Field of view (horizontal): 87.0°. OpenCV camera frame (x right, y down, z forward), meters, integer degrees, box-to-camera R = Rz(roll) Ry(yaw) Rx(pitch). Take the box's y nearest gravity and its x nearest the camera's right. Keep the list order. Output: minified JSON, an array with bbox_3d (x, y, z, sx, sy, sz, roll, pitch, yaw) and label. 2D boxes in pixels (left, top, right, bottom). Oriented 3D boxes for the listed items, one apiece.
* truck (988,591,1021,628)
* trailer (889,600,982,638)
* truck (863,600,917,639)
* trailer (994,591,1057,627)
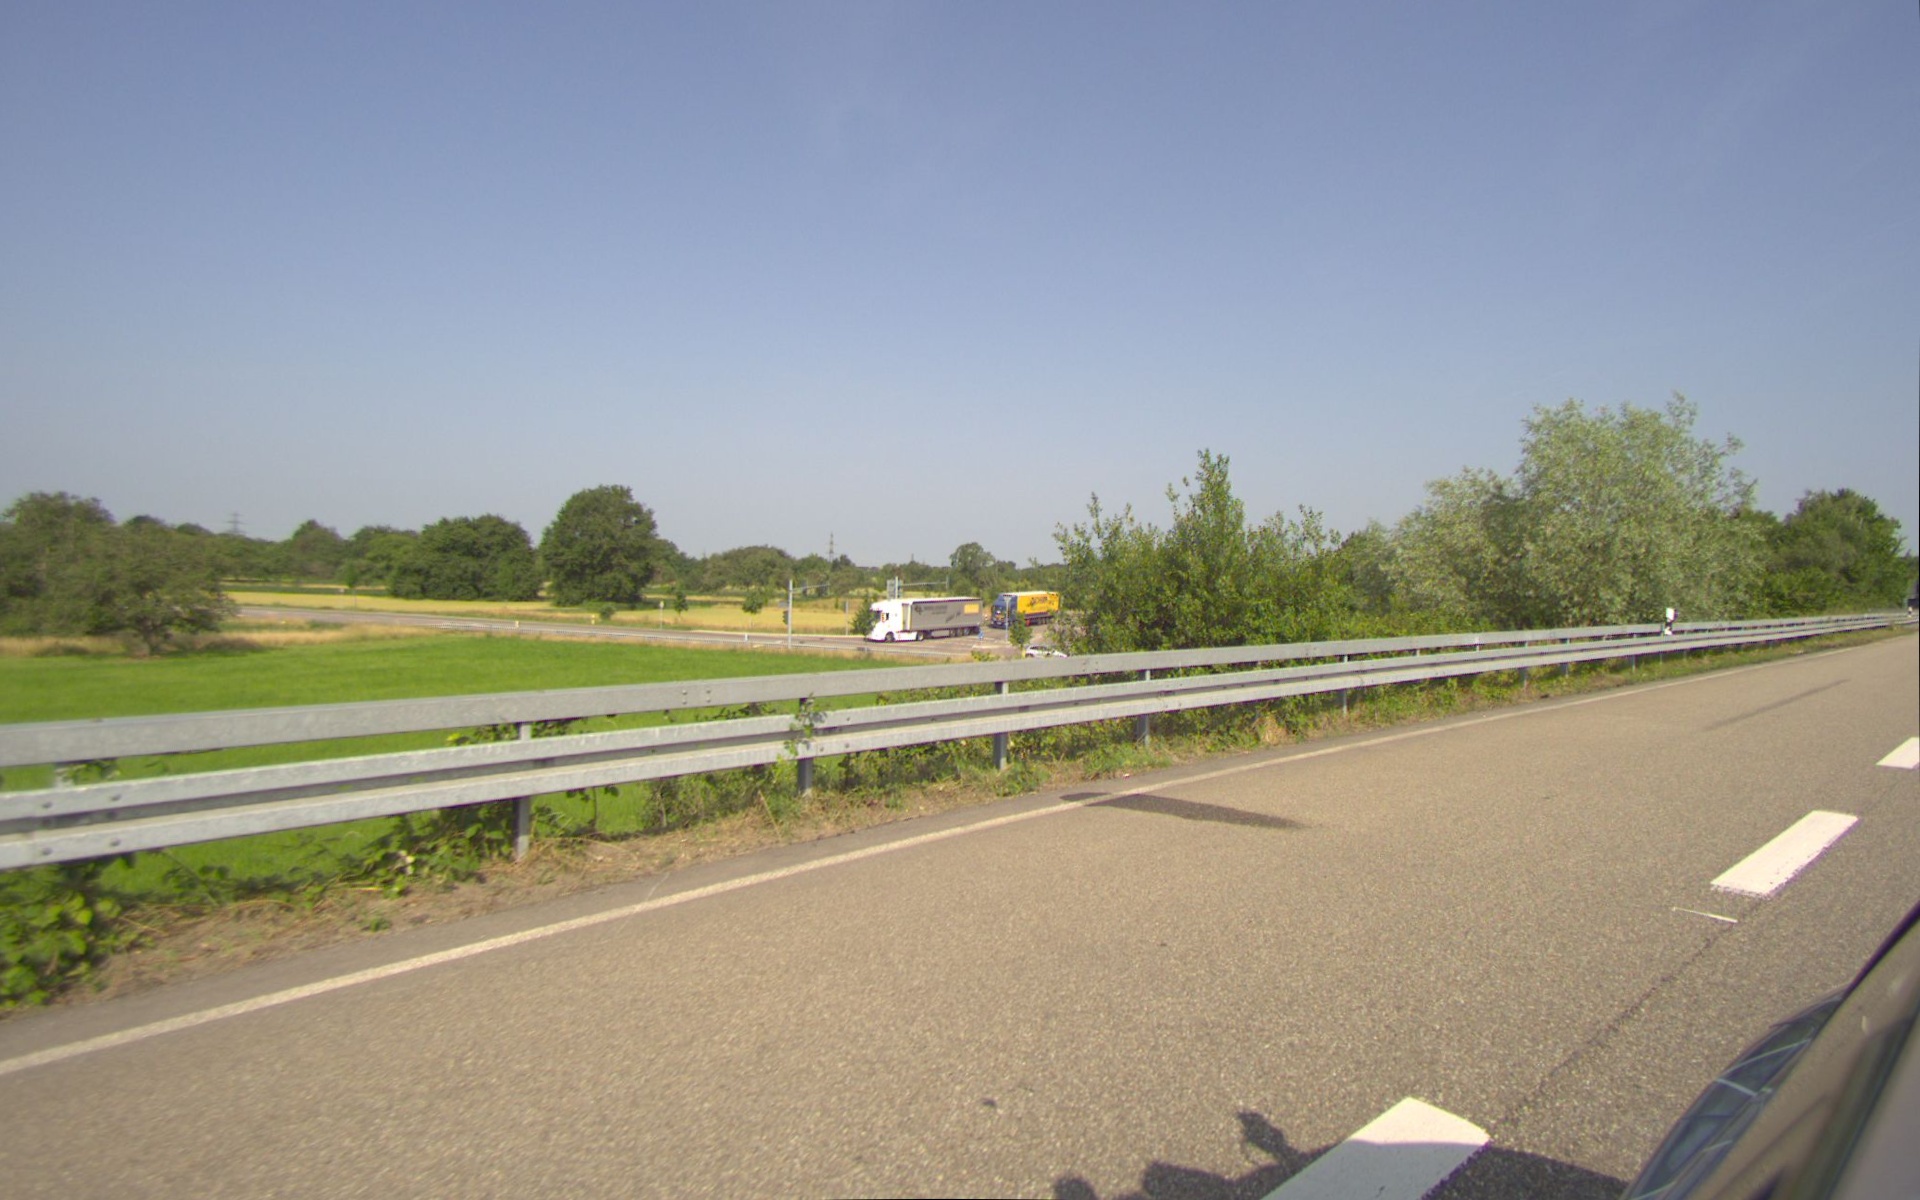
[{"bbox_3d":[5.352,1.104,120.980,2.241,4.222,4.329,1,1,28],"label":"truck"},{"bbox_3d":[-2.261,1.882,104.816,2.094,3.699,13.760,1,0,34],"label":"trailer"},{"bbox_3d":[-6.836,1.896,99.097,4.846,3.724,2.110,1,0,-33],"label":"truck"},{"bbox_3d":[8.437,1.054,126.912,2.241,4.221,14.286,1,1,27],"label":"trailer"}]
